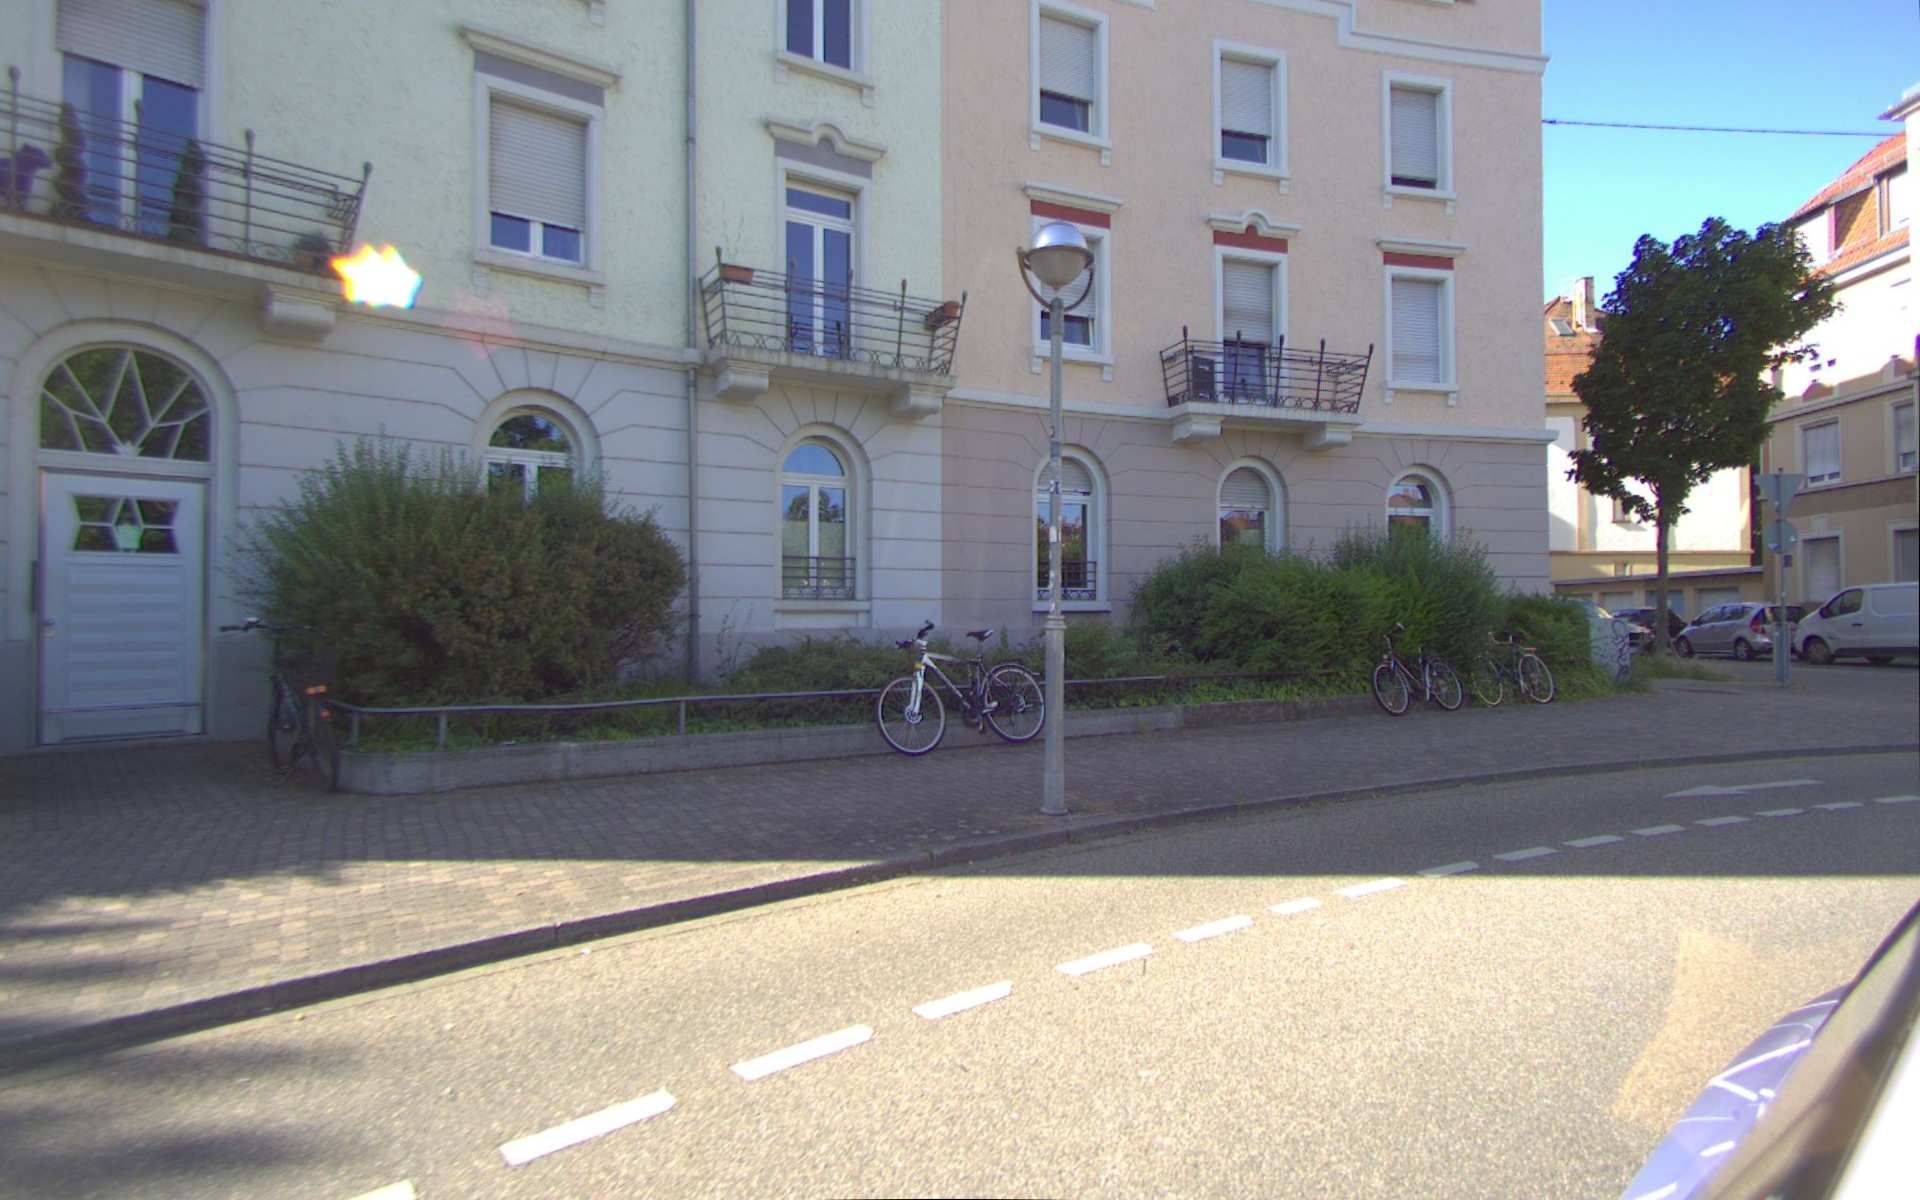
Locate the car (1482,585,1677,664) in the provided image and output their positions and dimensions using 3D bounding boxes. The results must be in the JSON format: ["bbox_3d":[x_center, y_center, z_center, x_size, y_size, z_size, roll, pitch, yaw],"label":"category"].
[{"bbox_3d":[14.185,0.551,23.522,1.873,1.663,4.345,0,-1,1],"label":"car"}]

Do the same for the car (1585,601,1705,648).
[{"bbox_3d":[22.099,0.779,32.792,1.607,1.446,3.332,0,-1,1],"label":"car"}]

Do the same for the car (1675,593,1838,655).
[{"bbox_3d":[22.138,0.659,28.332,1.607,1.593,3.736,0,-1,1],"label":"car"}]

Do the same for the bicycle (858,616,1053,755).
[{"bbox_3d":[-0.022,0.709,8.848,1.652,1.102,0.503,0,1,-27],"label":"bicycle"}]

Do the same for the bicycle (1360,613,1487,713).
[{"bbox_3d":[5.536,0.718,12.062,1.652,1.102,0.503,0,1,-30],"label":"bicycle"}]

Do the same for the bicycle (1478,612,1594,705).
[{"bbox_3d":[7.375,0.720,12.941,1.652,1.102,0.503,0,1,-30],"label":"bicycle"}]

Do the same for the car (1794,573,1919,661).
[{"bbox_3d":[22.108,0.391,23.183,2.100,1.934,4.562,0,-1,-2],"label":"car"}]

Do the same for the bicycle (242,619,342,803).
[{"bbox_3d":[-4.820,0.721,7.262,0.491,1.121,1.681,0,0,-37],"label":"bicycle"}]
